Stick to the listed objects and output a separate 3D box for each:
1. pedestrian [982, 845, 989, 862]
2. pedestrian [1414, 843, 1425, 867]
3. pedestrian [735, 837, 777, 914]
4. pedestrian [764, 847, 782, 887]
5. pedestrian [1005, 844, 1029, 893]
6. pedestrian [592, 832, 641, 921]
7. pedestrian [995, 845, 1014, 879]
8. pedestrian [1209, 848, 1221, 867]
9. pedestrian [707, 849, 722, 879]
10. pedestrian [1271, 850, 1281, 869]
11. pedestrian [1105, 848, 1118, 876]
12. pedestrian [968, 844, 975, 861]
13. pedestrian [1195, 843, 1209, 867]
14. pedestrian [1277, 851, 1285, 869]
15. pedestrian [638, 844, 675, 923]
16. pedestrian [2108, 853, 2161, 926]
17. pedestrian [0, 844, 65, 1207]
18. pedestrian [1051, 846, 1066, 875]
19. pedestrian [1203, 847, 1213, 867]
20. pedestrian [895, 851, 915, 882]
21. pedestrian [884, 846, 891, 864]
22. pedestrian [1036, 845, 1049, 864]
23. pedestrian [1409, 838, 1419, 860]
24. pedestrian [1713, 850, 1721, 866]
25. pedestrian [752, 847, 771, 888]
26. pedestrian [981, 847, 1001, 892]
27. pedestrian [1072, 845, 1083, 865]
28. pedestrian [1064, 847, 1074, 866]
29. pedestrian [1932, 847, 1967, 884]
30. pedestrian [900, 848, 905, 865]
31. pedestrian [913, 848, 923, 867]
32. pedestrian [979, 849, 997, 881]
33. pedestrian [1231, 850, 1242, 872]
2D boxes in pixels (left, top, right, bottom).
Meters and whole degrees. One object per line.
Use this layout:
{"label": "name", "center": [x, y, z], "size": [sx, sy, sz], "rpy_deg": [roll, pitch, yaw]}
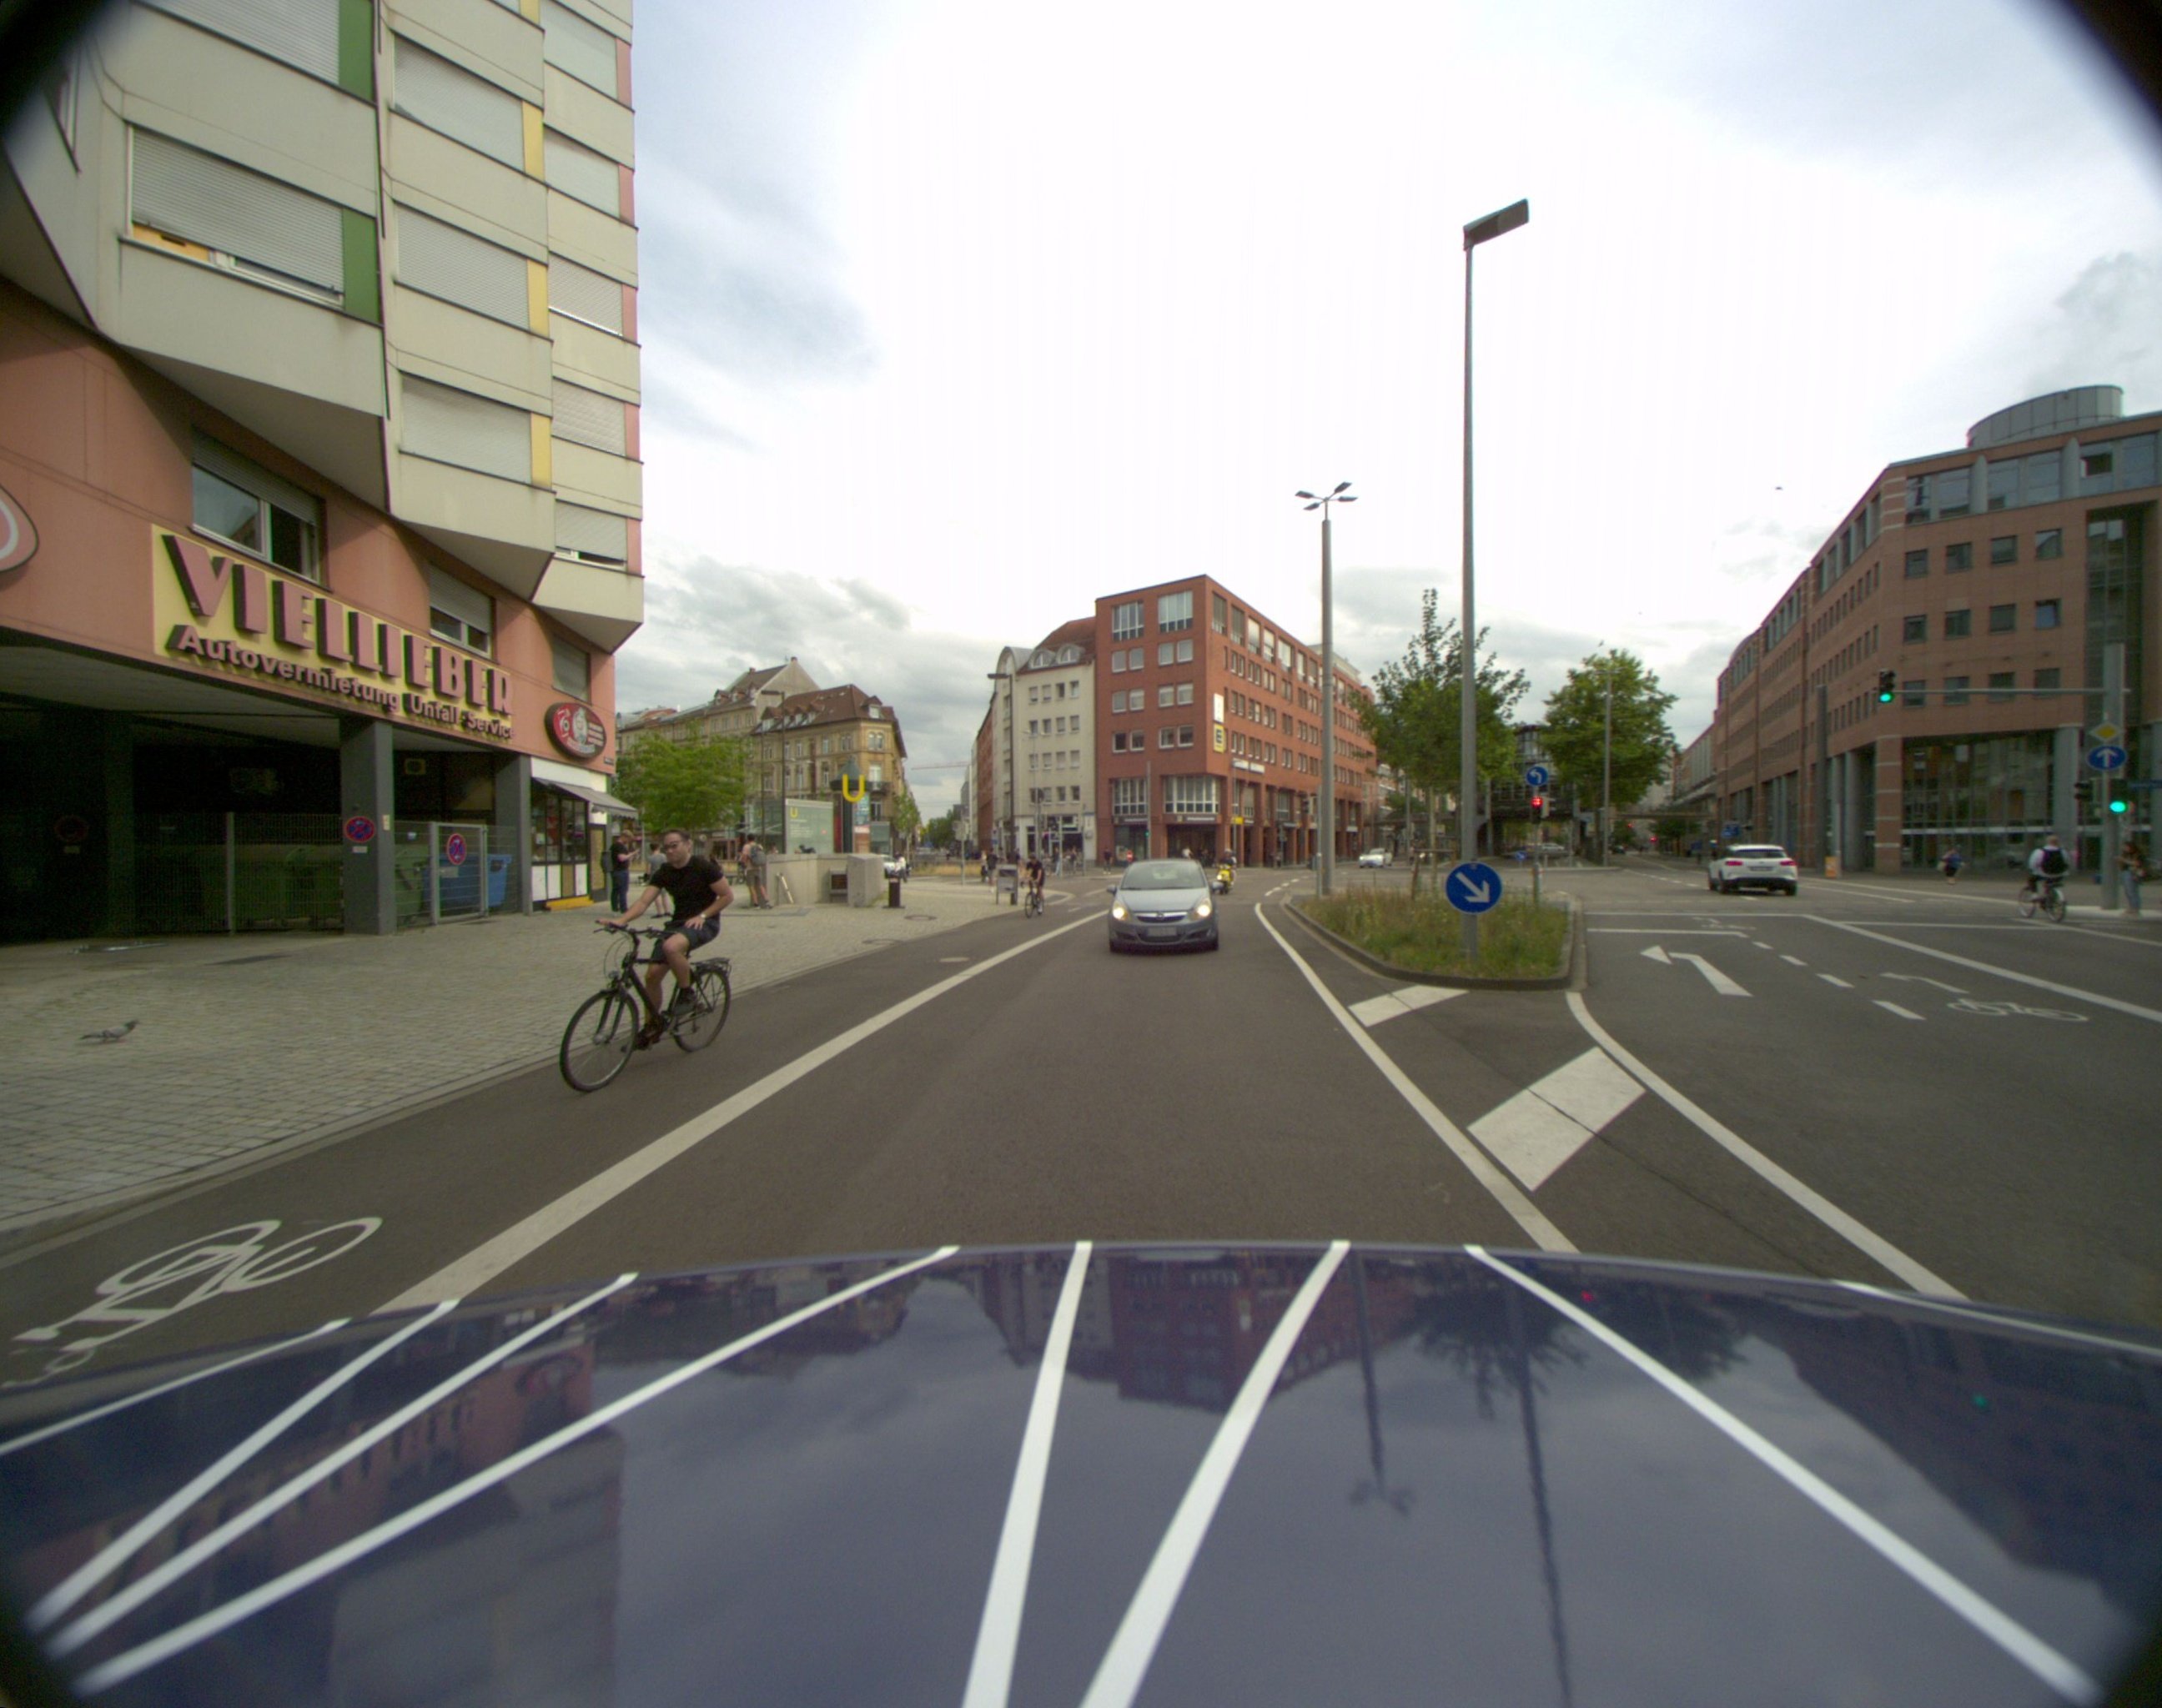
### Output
{"label": "pedestrian", "center": [-10.081, -0.060, 80.267], "size": [0.542, 1.712, 0.519], "rpy_deg": [-1, 1, -23]}
{"label": "pedestrian", "center": [26.659, 0.089, 59.840], "size": [0.692, 1.864, 0.808], "rpy_deg": [0, 1, 35]}
{"label": "pedestrian", "center": [-8.091, 0.511, 18.926], "size": [0.658, 1.841, 0.970], "rpy_deg": [3, 1, -8]}
{"label": "pedestrian", "center": [-14.549, 0.618, 35.851], "size": [0.489, 1.856, 0.586], "rpy_deg": [1, 0, 29]}
{"label": "pedestrian", "center": [-2.596, 0.592, 30.923], "size": [0.722, 1.960, 1.012], "rpy_deg": [2, 0, -16]}
{"label": "pedestrian", "center": [-10.067, 0.483, 16.482], "size": [0.674, 1.892, 0.589], "rpy_deg": [2, 0, -10]}
{"label": "pedestrian", "center": [-4.160, 0.439, 41.374], "size": [0.639, 1.843, 0.879], "rpy_deg": [0, 1, 34]}
{"label": "pedestrian", "center": [11.732, 0.295, 66.363], "size": [0.647, 1.704, 1.058], "rpy_deg": [0, 2, 34]}
{"label": "pedestrian", "center": [-20.543, 0.564, 42.553], "size": [0.676, 1.632, 0.440], "rpy_deg": [0, 1, 34]}
{"label": "pedestrian", "center": [17.088, 0.469, 66.649], "size": [0.646, 1.687, 0.699], "rpy_deg": [2, 3, 31]}
{"label": "pedestrian", "center": [2.009, 0.520, 50.261], "size": [0.567, 1.813, 0.697], "rpy_deg": [0, 1, 33]}
{"label": "pedestrian", "center": [-11.515, -0.151, 79.939], "size": [0.592, 1.712, 0.519], "rpy_deg": [-1, 1, -16]}
{"label": "pedestrian", "center": [10.120, 0.073, 63.379], "size": [0.814, 2.002, 0.799], "rpy_deg": [-2, 0, 31]}
{"label": "pedestrian", "center": [17.967, 0.535, 68.302], "size": [0.406, 1.623, 0.733], "rpy_deg": [3, 3, 42]}
{"label": "pedestrian", "center": [-9.191, 0.636, 16.472], "size": [0.474, 1.663, 0.589], "rpy_deg": [2, 0, -10]}
{"label": "pedestrian", "center": [22.904, 0.753, 16.520], "size": [0.499, 1.550, 0.519], "rpy_deg": [0, 1, 27]}
{"label": "pedestrian", "center": [-5.544, 0.820, 3.409], "size": [0.753, 1.740, 0.859], "rpy_deg": [3, 1, -4]}
{"label": "pedestrian", "center": [-1.340, 0.365, 44.990], "size": [0.519, 1.676, 0.727], "rpy_deg": [0, 1, 34]}
{"label": "pedestrian", "center": [10.828, 0.236, 64.706], "size": [0.541, 1.642, 0.894], "rpy_deg": [0, 1, 34]}
{"label": "pedestrian", "center": [-8.796, 0.614, 38.009], "size": [0.552, 1.493, 0.848], "rpy_deg": [0, 3, 18]}
{"label": "pedestrian", "center": [-18.753, 0.113, 73.521], "size": [0.423, 1.675, 0.516], "rpy_deg": [1, 1, 35]}
{"label": "pedestrian", "center": [-3.247, 0.016, 64.397], "size": [0.791, 1.617, 0.719], "rpy_deg": [0, 1, 35]}
{"label": "pedestrian", "center": [27.319, -0.424, 62.366], "size": [0.578, 1.781, 0.534], "rpy_deg": [-1, 1, -36]}
{"label": "pedestrian", "center": [60.830, 0.370, 72.641], "size": [0.527, 1.564, 0.602], "rpy_deg": [1, 1, 34]}
{"label": "pedestrian", "center": [-14.811, 0.632, 35.259], "size": [0.547, 1.856, 0.586], "rpy_deg": [1, 0, 29]}
{"label": "pedestrian", "center": [-3.643, 0.624, 30.711], "size": [0.677, 1.789, 0.885], "rpy_deg": [2, 0, -13]}
{"label": "pedestrian", "center": [-0.266, 0.104, 61.722], "size": [0.707, 1.638, 0.720], "rpy_deg": [-1, 0, -19]}
{"label": "pedestrian", "center": [-0.990, 0.206, 61.556], "size": [0.593, 1.502, 0.629], "rpy_deg": [-1, 0, -19]}
{"label": "pedestrian", "center": [35.550, 0.455, 31.114], "size": [0.797, 1.464, 0.686], "rpy_deg": [0, 1, 34]}
{"label": "pedestrian", "center": [-17.602, 0.239, 74.924], "size": [0.425, 1.675, 0.514], "rpy_deg": [0, 1, -23]}
{"label": "pedestrian", "center": [-15.139, 0.324, 70.625], "size": [0.606, 1.676, 0.731], "rpy_deg": [-5, 3, -32]}
{"label": "pedestrian", "center": [-4.955, 0.580, 40.497], "size": [0.633, 1.685, 0.708], "rpy_deg": [0, 1, 34]}
{"label": "pedestrian", "center": [11.913, 0.555, 58.374], "size": [0.639, 1.677, 0.601], "rpy_deg": [0, 1, 34]}
